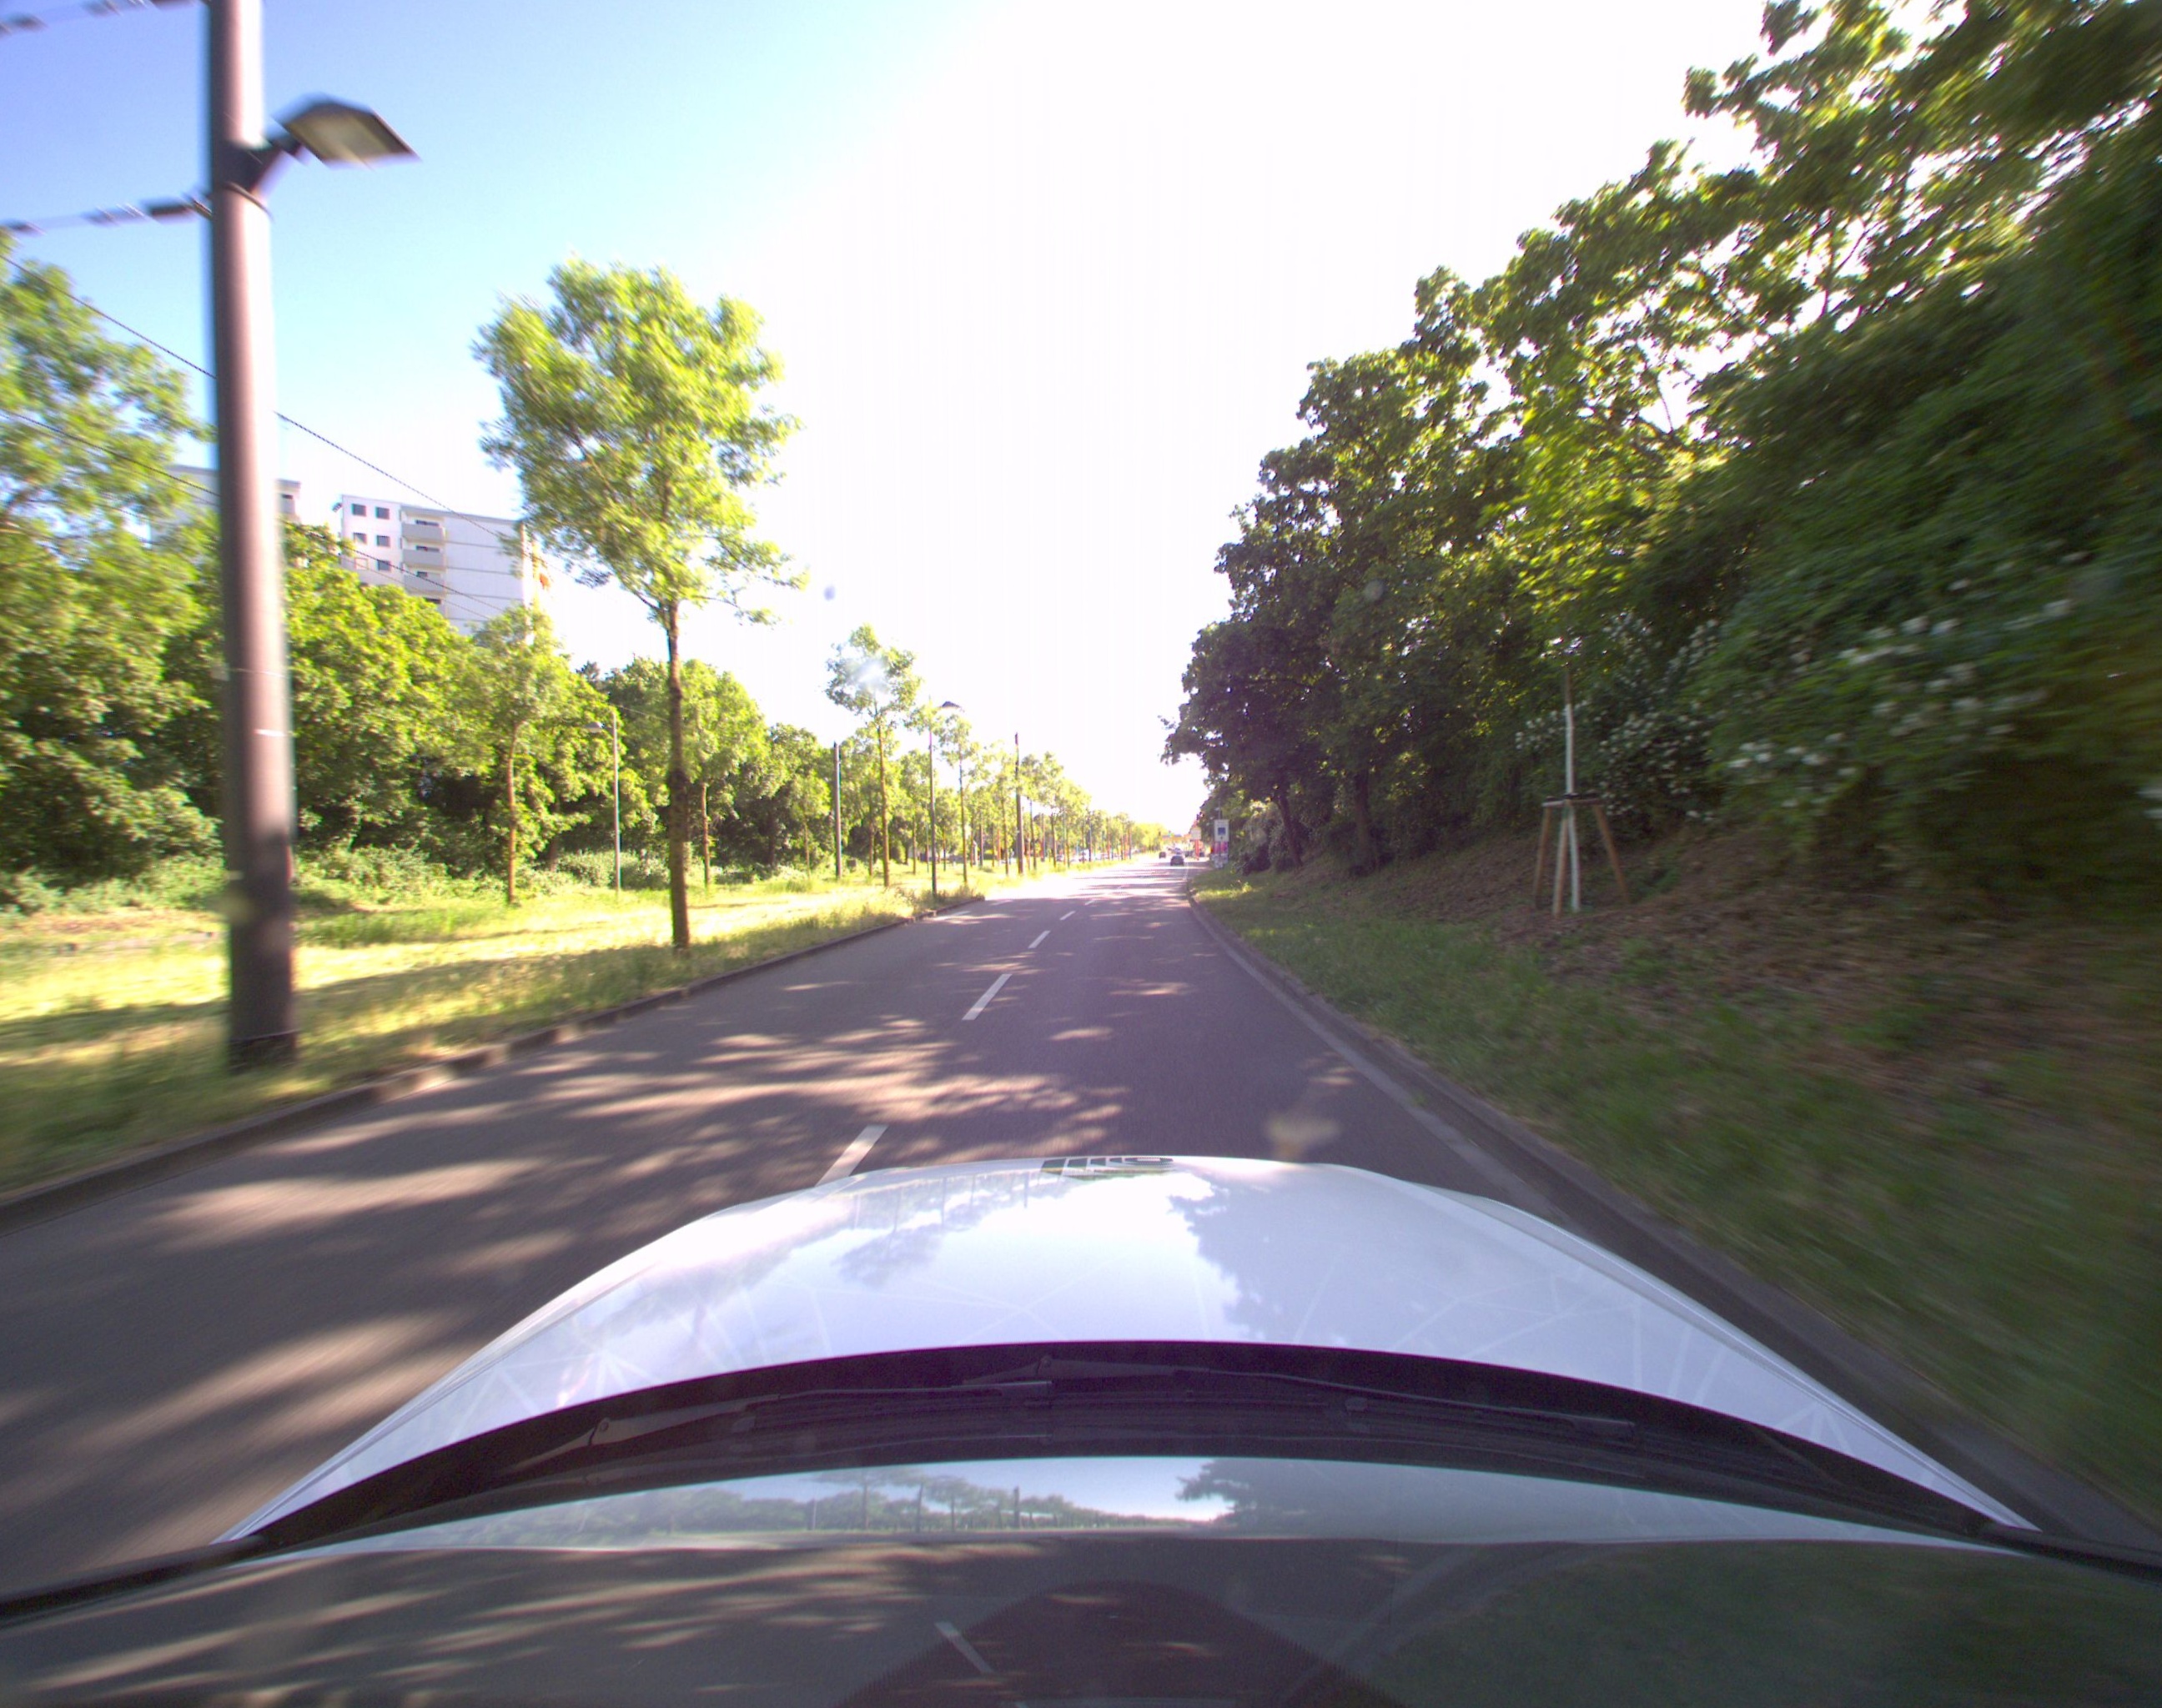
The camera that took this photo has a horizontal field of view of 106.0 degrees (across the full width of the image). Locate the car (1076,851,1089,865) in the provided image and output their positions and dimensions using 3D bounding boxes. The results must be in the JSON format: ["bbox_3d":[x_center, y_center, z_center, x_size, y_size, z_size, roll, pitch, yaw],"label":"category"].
[{"bbox_3d":[0.421,0.907,192.101,2.453,3.240,6.143,-1,-1,5],"label":"car"}]

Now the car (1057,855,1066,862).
[{"bbox_3d":[-4.334,0.989,181.137,1.623,1.680,4.198,-2,0,6],"label":"car"}]

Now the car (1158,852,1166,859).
[{"bbox_3d":[19.818,0.329,199.278,1.625,1.498,4.244,-2,0,8],"label":"car"}]

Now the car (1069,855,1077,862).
[{"bbox_3d":[-1.938,1.190,202.658,1.623,1.680,4.198,-2,0,6],"label":"car"}]

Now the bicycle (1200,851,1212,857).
[{"bbox_3d":[25.226,0.081,163.934,2.402,1.109,0.814,-2,0,6],"label":"bicycle"}]

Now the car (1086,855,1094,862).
[{"bbox_3d":[2.382,1.147,209.403,1.623,1.680,4.198,-2,0,6],"label":"car"}]

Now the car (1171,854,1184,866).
[{"bbox_3d":[12.808,0.804,107.813,1.625,1.498,4.244,-2,0,8],"label":"car"}]
